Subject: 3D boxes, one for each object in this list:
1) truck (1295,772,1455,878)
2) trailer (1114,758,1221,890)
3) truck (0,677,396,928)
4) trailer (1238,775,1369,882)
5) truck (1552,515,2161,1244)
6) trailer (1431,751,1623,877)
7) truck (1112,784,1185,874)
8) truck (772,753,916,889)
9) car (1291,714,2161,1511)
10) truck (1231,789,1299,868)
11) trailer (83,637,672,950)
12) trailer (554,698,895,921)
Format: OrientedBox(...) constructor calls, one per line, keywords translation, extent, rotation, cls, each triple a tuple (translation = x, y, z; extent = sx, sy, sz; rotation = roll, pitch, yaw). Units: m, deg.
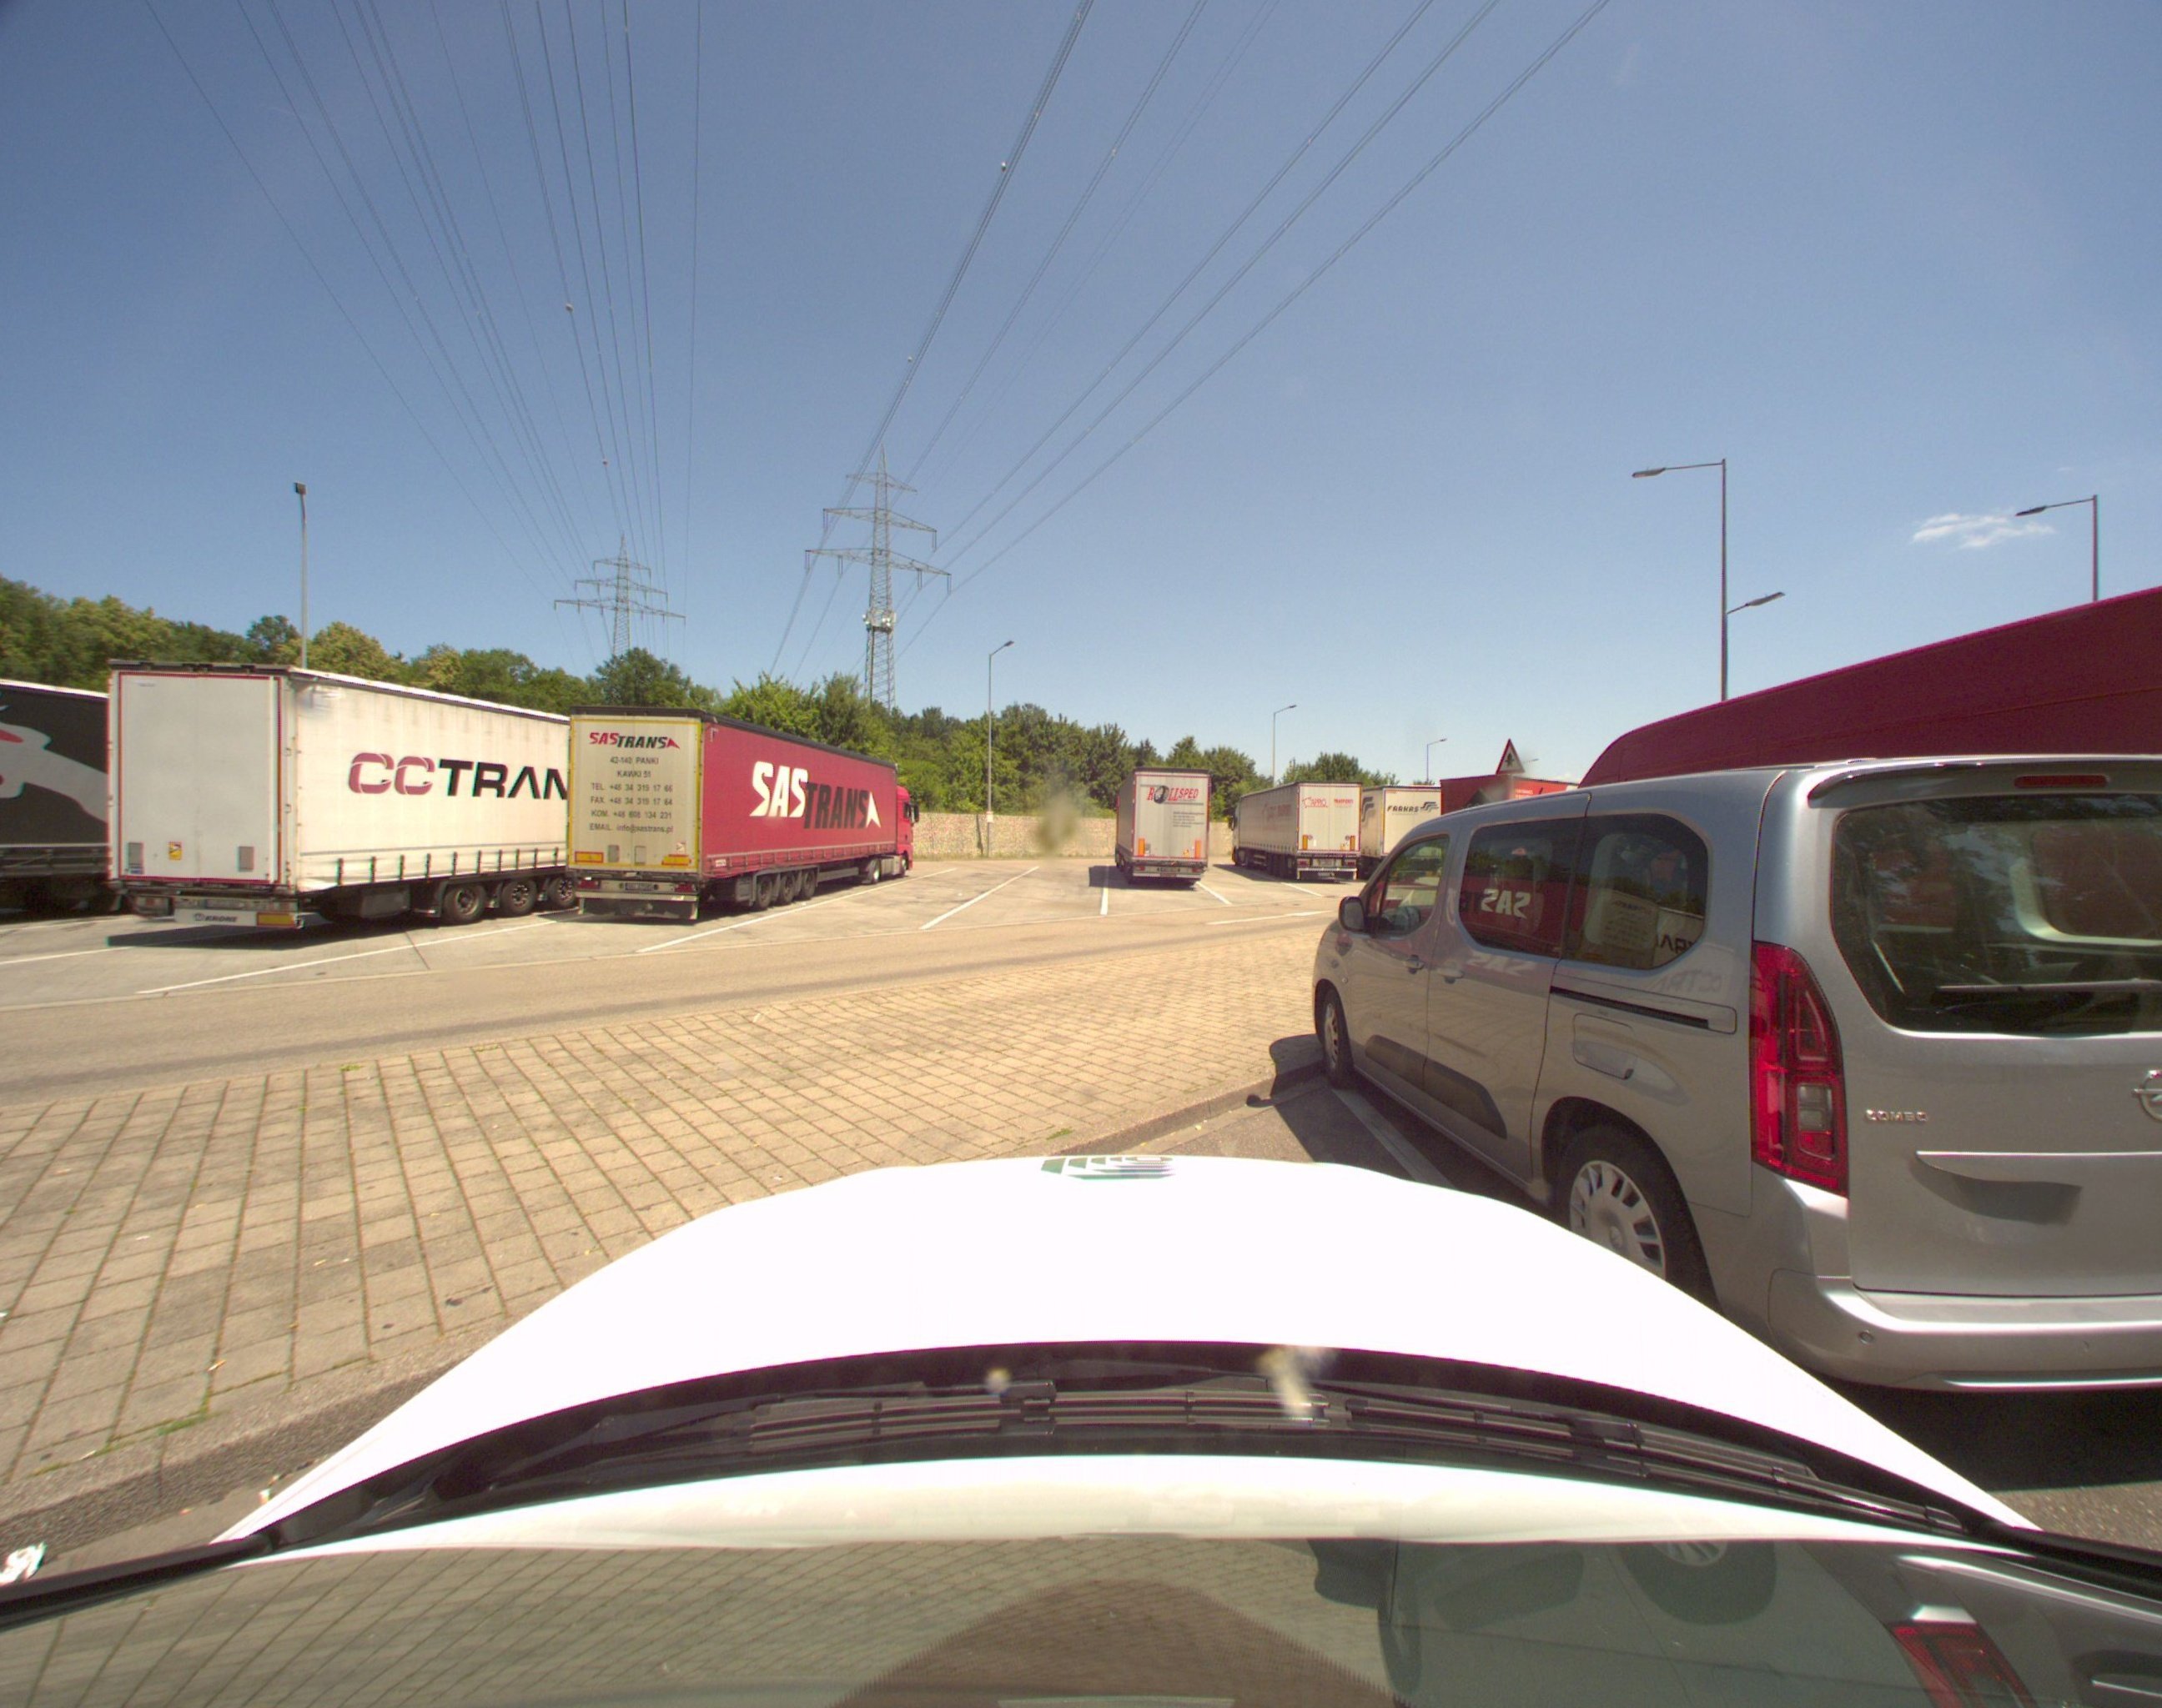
OrientedBox(translation=(13.577, -1.277, 39.623), extent=(2.894, 4.124, 14.533), rotation=(2, 1, 2), cls="truck")
OrientedBox(translation=(3.041, -1.184, 32.712), extent=(3.059, 4.227, 12.811), rotation=(1, 2, 1), cls="trailer")
OrientedBox(translation=(-18.519, -0.854, 15.942), extent=(2.627, 4.018, 8.640), rotation=(-1, 1, 2), cls="truck")
OrientedBox(translation=(9.936, -1.099, 38.382), extent=(2.865, 4.124, 13.577), rotation=(0, 1, 2), cls="trailer")
OrientedBox(translation=(5.091, 0.053, 4.846), extent=(1.983, 2.623, 5.312), rotation=(-1, 1, 6), cls="truck")
OrientedBox(translation=(17.303, -1.447, 31.321), extent=(8.720, 4.257, 2.813), rotation=(-1, 1, -34), cls="trailer")
OrientedBox(translation=(3.124, -1.217, 39.484), extent=(3.016, 3.928, 6.848), rotation=(1, 2, 1), cls="truck")
OrientedBox(translation=(-7.844, -1.048, 27.990), extent=(2.733, 4.081, 6.832), rotation=(-1, 1, 2), cls="truck")
OrientedBox(translation=(2.461, 0.532, 3.824), extent=(1.821, 1.753, 3.998), rotation=(-1, 1, -2), cls="car")
OrientedBox(translation=(10.125, -1.389, 45.385), extent=(2.747, 4.124, 5.286), rotation=(-1, 1, 2), cls="truck")
OrientedBox(translation=(-12.107, -0.893, 16.048), extent=(2.734, 4.263, 9.740), rotation=(0, 1, 3), cls="trailer")
OrientedBox(translation=(-8.051, -0.916, 21.548), extent=(2.739, 4.057, 13.292), rotation=(-1, 1, 2), cls="trailer")
